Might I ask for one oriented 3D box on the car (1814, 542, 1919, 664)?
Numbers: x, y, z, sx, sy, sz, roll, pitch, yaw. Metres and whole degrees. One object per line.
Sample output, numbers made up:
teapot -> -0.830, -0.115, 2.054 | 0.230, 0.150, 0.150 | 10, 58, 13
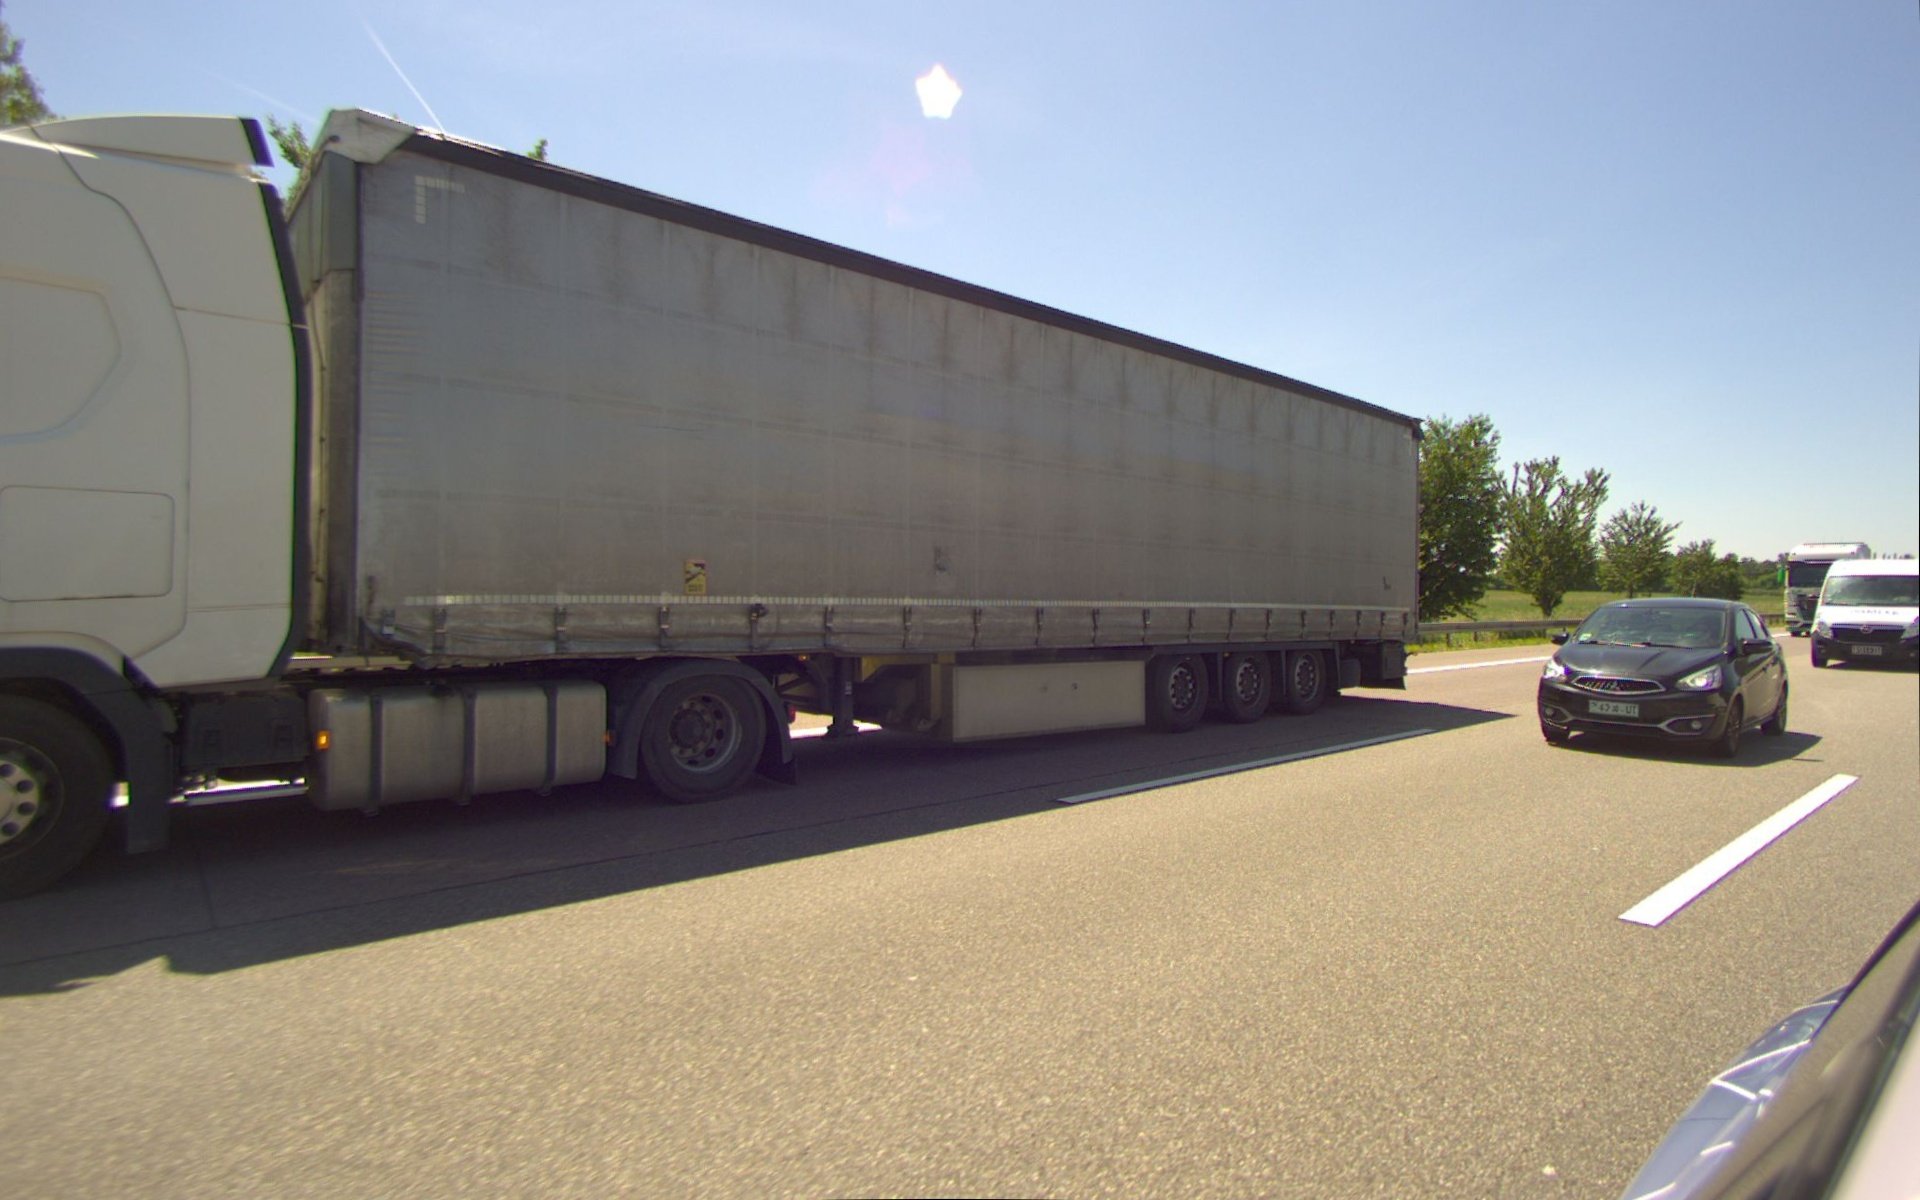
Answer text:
car -> 21.713, 0.034, 23.421 | 5.843, 2.540, 2.156 | -1, 0, -42

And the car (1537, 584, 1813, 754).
car -> 7.604, 0.594, 10.671 | 3.374, 1.492, 1.689 | -1, 0, -42

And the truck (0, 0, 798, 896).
truck -> -4.770, -0.843, 6.119 | 7.066, 4.359, 2.815 | 0, 0, -40

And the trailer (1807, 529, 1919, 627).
trailer -> 42.847, -0.925, 46.970 | 13.707, 4.016, 2.699 | 0, 0, -38

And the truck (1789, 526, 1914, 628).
truck -> 38.143, -0.906, 43.226 | 7.563, 4.016, 2.699 | 0, 0, -38

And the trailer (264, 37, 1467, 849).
trailer -> 1.004, -0.906, 11.044 | 14.002, 4.359, 2.815 | -1, 0, -40
